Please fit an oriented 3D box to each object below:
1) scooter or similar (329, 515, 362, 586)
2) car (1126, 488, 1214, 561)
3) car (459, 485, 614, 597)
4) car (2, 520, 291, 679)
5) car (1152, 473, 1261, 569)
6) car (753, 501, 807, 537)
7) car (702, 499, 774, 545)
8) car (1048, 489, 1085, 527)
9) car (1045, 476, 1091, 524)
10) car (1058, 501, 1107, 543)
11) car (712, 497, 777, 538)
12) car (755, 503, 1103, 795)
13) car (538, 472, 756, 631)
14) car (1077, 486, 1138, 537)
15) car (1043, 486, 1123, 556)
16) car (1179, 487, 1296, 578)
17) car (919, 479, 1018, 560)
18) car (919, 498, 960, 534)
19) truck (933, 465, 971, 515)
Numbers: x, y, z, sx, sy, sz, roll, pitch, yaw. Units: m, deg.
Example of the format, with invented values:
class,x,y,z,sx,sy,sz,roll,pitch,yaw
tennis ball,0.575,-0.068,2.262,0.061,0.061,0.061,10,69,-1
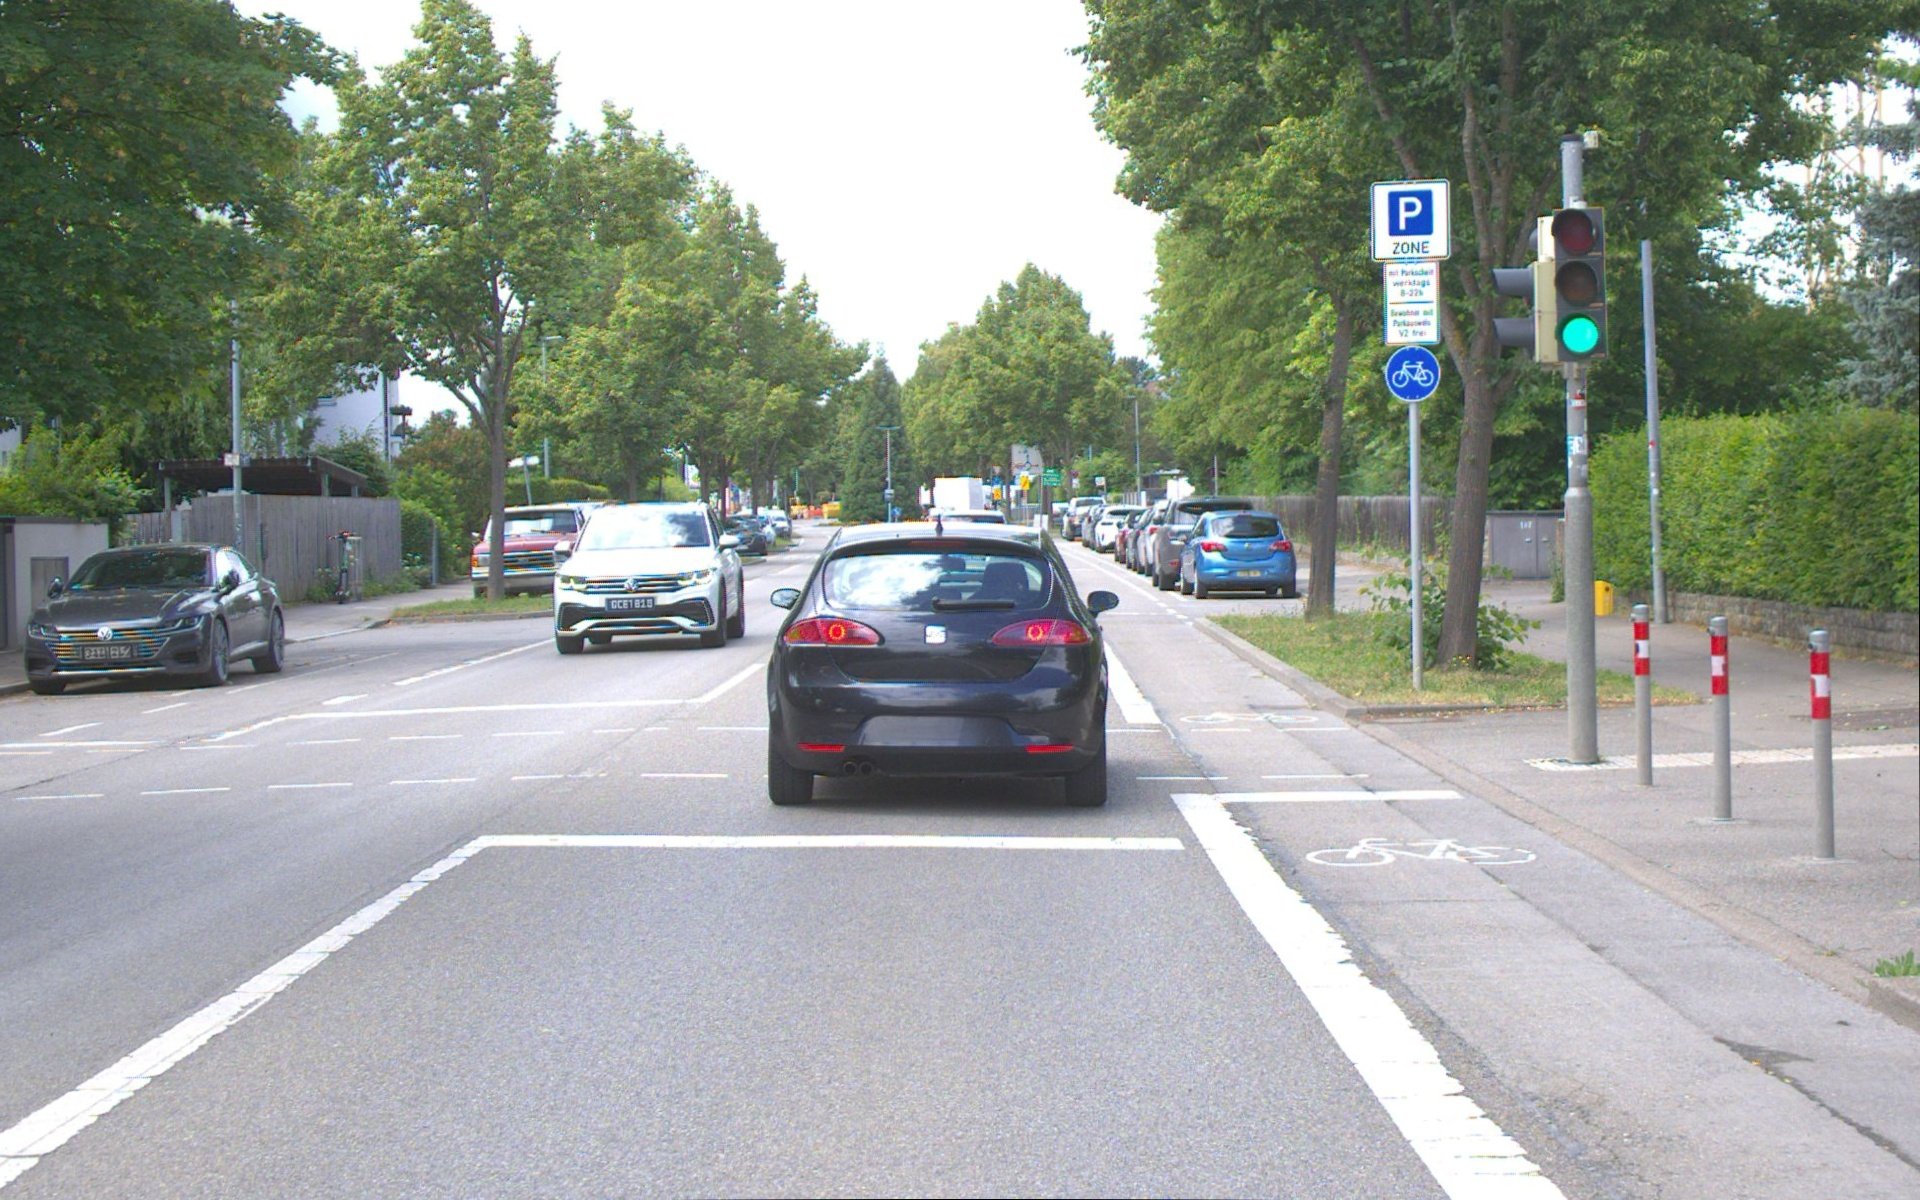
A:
class,x,y,z,sx,sy,sz,roll,pitch,yaw
scooter or similar,-10.840,-0.877,60.673,0.387,1.225,1.499,-1,2,-4
car,4.667,-1.706,76.753,1.688,1.558,4.214,-1,2,0
car,-7.804,-1.127,63.944,2.100,1.890,5.784,-2,2,0
car,-8.081,-0.062,34.586,1.718,1.390,4.801,-2,2,0
car,4.532,-1.472,63.623,1.688,1.705,4.214,-1,2,0
car,-8.063,-3.643,154.409,2.100,1.501,5.784,-2,2,0
car,-7.794,-2.762,121.292,2.100,1.501,5.784,-2,2,0
car,5.382,-4.667,174.399,1.688,1.868,4.214,-1,2,0
car,4.317,-4.003,137.851,1.688,1.868,4.214,-1,2,0
car,4.669,-2.991,131.493,1.688,1.558,4.214,-1,2,0
car,-8.375,-3.230,134.004,2.100,1.501,5.784,-2,2,0
car,-0.195,0.193,18.571,1.662,1.396,3.812,1,1,-1
car,-3.478,-0.580,39.006,1.875,1.629,4.340,-2,2,2
car,4.567,-2.757,106.875,1.688,1.558,4.214,-1,2,0
car,2.832,-1.856,79.993,1.688,1.558,4.214,-1,2,0
car,4.683,-1.154,58.413,1.688,1.485,3.355,-1,2,0
car,0.185,-1.561,66.540,1.846,1.504,3.812,1,1,1
car,-0.975,-3.977,162.761,1.881,1.683,4.214,-1,2,0
truck,-0.555,-7.095,222.777,2.279,3.093,8.511,1,1,-1
